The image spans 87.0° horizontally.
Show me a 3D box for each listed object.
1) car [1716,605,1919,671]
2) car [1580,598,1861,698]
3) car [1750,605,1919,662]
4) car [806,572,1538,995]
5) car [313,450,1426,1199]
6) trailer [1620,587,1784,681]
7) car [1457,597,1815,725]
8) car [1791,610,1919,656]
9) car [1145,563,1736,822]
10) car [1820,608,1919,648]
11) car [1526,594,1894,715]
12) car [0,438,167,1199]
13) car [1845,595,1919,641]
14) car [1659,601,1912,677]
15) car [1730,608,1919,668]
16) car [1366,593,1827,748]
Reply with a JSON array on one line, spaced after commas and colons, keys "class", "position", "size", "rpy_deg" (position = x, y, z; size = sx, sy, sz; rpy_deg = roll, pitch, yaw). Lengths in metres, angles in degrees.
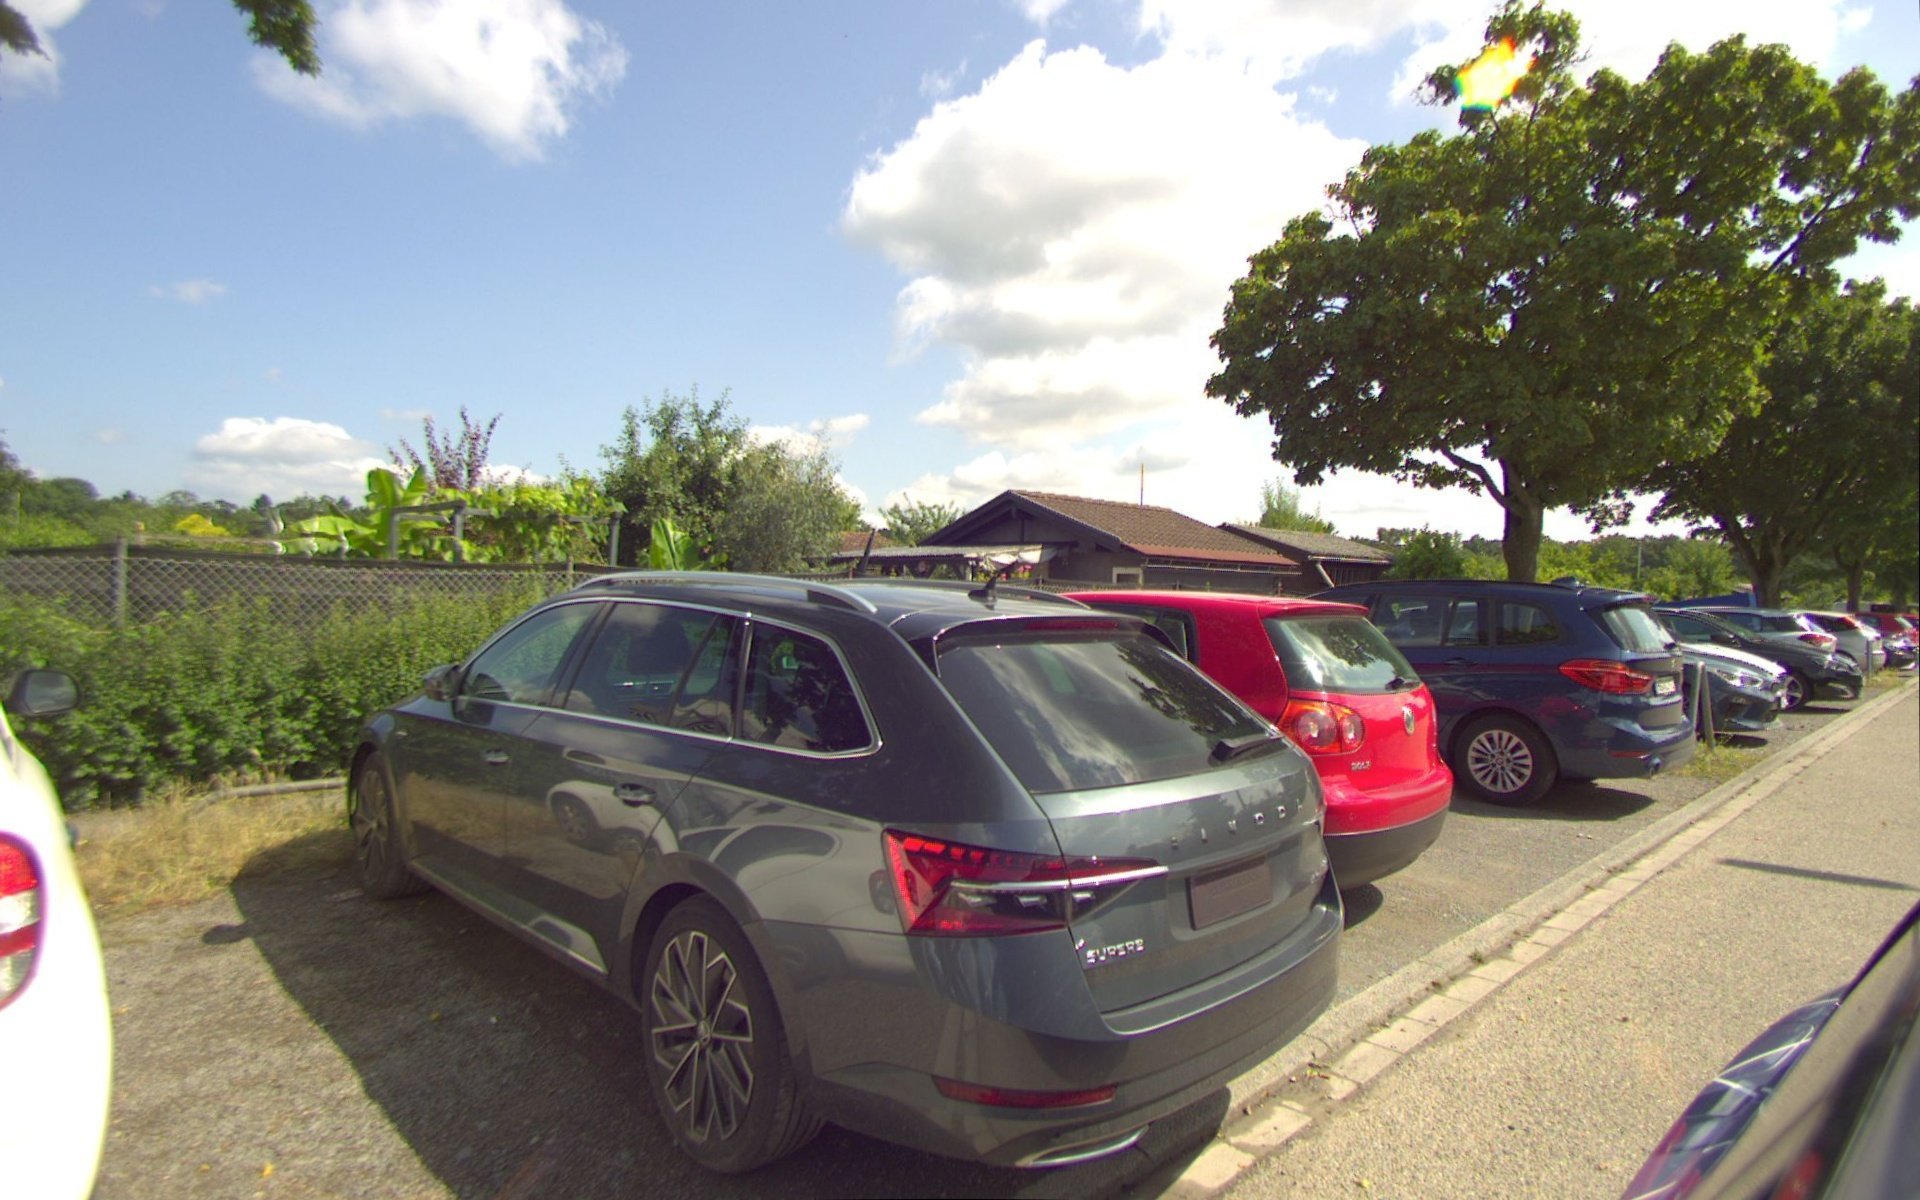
[{"class": "car", "position": [21.017, 0.859, 24.536], "size": [1.839, 1.474, 4.067], "rpy_deg": [0, 0, -44]}, {"class": "car", "position": [13.200, 0.753, 17.680], "size": [3.724, 1.559, 1.820], "rpy_deg": [0, 0, 45]}, {"class": "car", "position": [25.599, 0.921, 29.289], "size": [1.821, 1.539, 3.996], "rpy_deg": [0, 0, -39]}, {"class": "car", "position": [0.911, 0.651, 5.793], "size": [1.732, 1.551, 3.815], "rpy_deg": [0, 1, -42]}, {"class": "car", "position": [-0.872, 0.556, 3.915], "size": [4.549, 1.598, 1.780], "rpy_deg": [0, 0, 44]}, {"class": "trailer", "position": [14.767, 0.647, 20.178], "size": [2.450, 1.742, 1.494], "rpy_deg": [0, -2, 44]}, {"class": "car", "position": [9.245, 0.730, 14.039], "size": [1.870, 1.511, 3.817], "rpy_deg": [0, 0, -43]}, {"class": "car", "position": [31.097, 1.088, 34.416], "size": [4.238, 1.446, 1.878], "rpy_deg": [0, 0, 44]}, {"class": "car", "position": [3.824, 0.535, 8.652], "size": [1.846, 1.658, 4.162], "rpy_deg": [0, 1, -41]}, {"class": "car", "position": [36.267, 1.064, 39.285], "size": [1.845, 1.523, 4.190], "rpy_deg": [0, 0, -41]}, {"class": "car", "position": [11.474, 0.730, 15.710], "size": [1.966, 1.614, 4.306], "rpy_deg": [0, 0, -43]}, {"class": "car", "position": [-3.160, 0.540, 2.364], "size": [3.574, 1.569, 1.640], "rpy_deg": [0, -1, 45]}, {"class": "car", "position": [41.906, 0.815, 44.264], "size": [2.076, 1.910, 4.639], "rpy_deg": [1, 1, -44]}, {"class": "car", "position": [18.248, 0.787, 22.519], "size": [1.923, 1.531, 4.073], "rpy_deg": [0, 0, -39]}, {"class": "car", "position": [23.164, 0.958, 26.956], "size": [1.923, 1.442, 3.918], "rpy_deg": [0, 0, -39]}, {"class": "car", "position": [7.416, 0.691, 12.133], "size": [1.942, 1.511, 4.340], "rpy_deg": [0, 0, -43]}]
